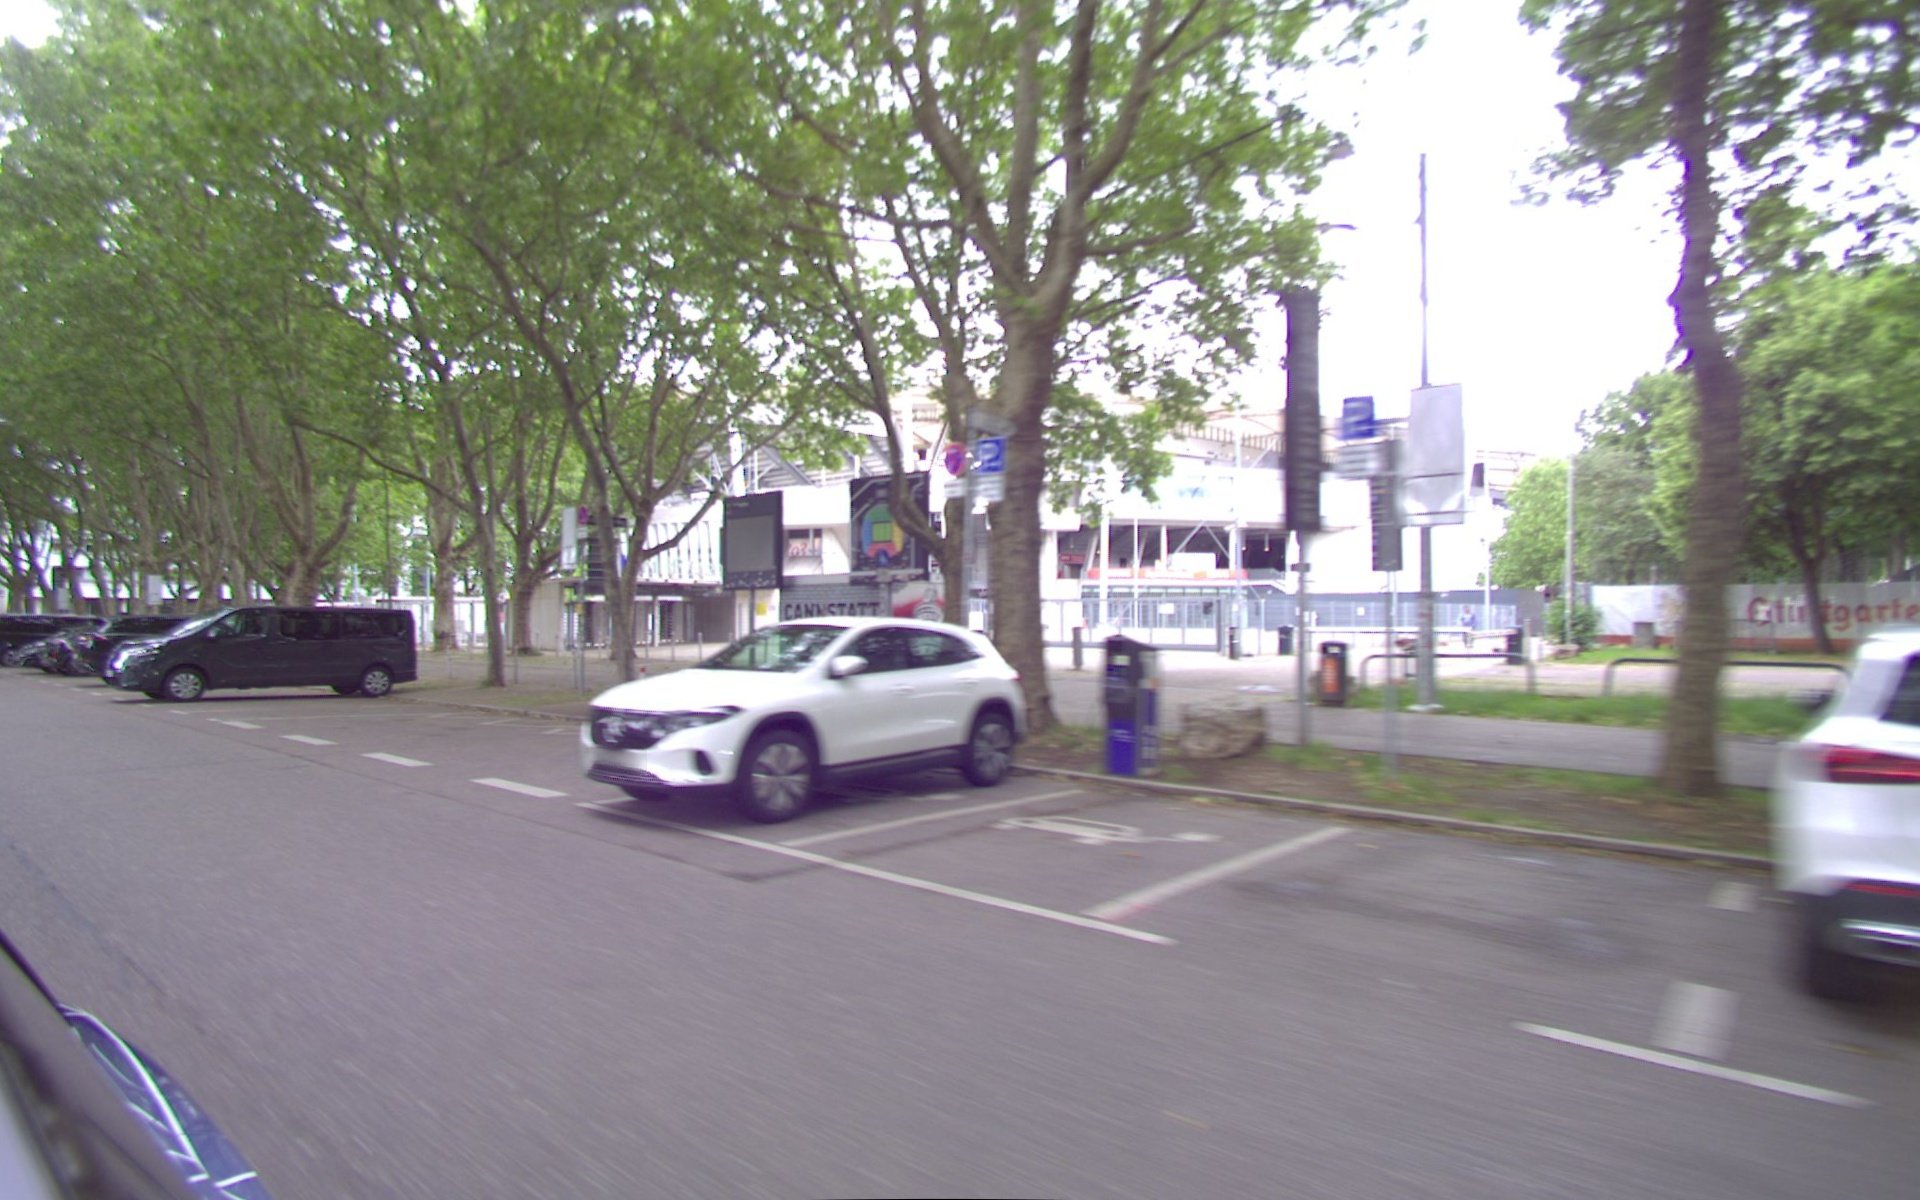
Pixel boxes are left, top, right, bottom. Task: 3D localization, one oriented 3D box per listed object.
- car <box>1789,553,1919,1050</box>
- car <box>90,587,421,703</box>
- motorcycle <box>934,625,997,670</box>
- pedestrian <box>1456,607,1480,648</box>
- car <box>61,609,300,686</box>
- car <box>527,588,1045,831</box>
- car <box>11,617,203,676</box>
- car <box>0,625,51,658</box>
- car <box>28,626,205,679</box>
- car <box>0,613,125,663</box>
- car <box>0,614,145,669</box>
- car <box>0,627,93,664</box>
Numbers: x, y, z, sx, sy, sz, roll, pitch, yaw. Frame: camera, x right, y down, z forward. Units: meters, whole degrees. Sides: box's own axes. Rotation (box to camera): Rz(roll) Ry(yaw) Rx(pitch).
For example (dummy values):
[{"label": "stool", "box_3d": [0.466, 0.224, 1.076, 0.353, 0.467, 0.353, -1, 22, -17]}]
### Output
[{"label": "car", "box_3d": [5.170, 0.782, 4.655, 1.998, 1.680, 4.298, -1, -4, 39]}, {"label": "car", "box_3d": [-14.682, 0.982, 21.454, 1.938, 2.144, 5.382, -2, -4, 39]}, {"label": "motorcycle", "box_3d": [0.160, 1.232, 26.696, 0.739, 1.151, 1.637, -1, -3, 44]}, {"label": "pedestrian", "box_3d": [22.000, 1.176, 43.803, 0.764, 1.738, 0.652, -1, -1, 40]}, {"label": "car", "box_3d": [-20.123, 1.277, 26.301, 1.805, 1.834, 4.604, -3, -5, 41]}, {"label": "car", "box_3d": [-1.278, 0.837, 9.063, 1.998, 1.609, 4.337, -1, -3, 39]}, {"label": "car", "box_3d": [-27.678, 1.535, 32.975, 1.797, 1.795, 4.529, -3, -5, 42]}, {"label": "car", "box_3d": [-48.675, 2.070, 50.736, 1.758, 1.630, 4.467, -2, -2, 43]}, {"label": "car", "box_3d": [-25.877, 1.610, 31.157, 1.752, 1.505, 3.859, -1, -3, 38]}, {"label": "car", "box_3d": [-37.299, 1.558, 41.217, 2.015, 1.939, 4.715, -1, -4, 38]}, {"label": "car", "box_3d": [-33.851, 1.555, 37.894, 2.207, 1.939, 4.854, -2, -3, 41]}, {"label": "car", "box_3d": [-41.216, 1.998, 44.726, 1.754, 1.581, 4.068, -1, -4, 36]}]
